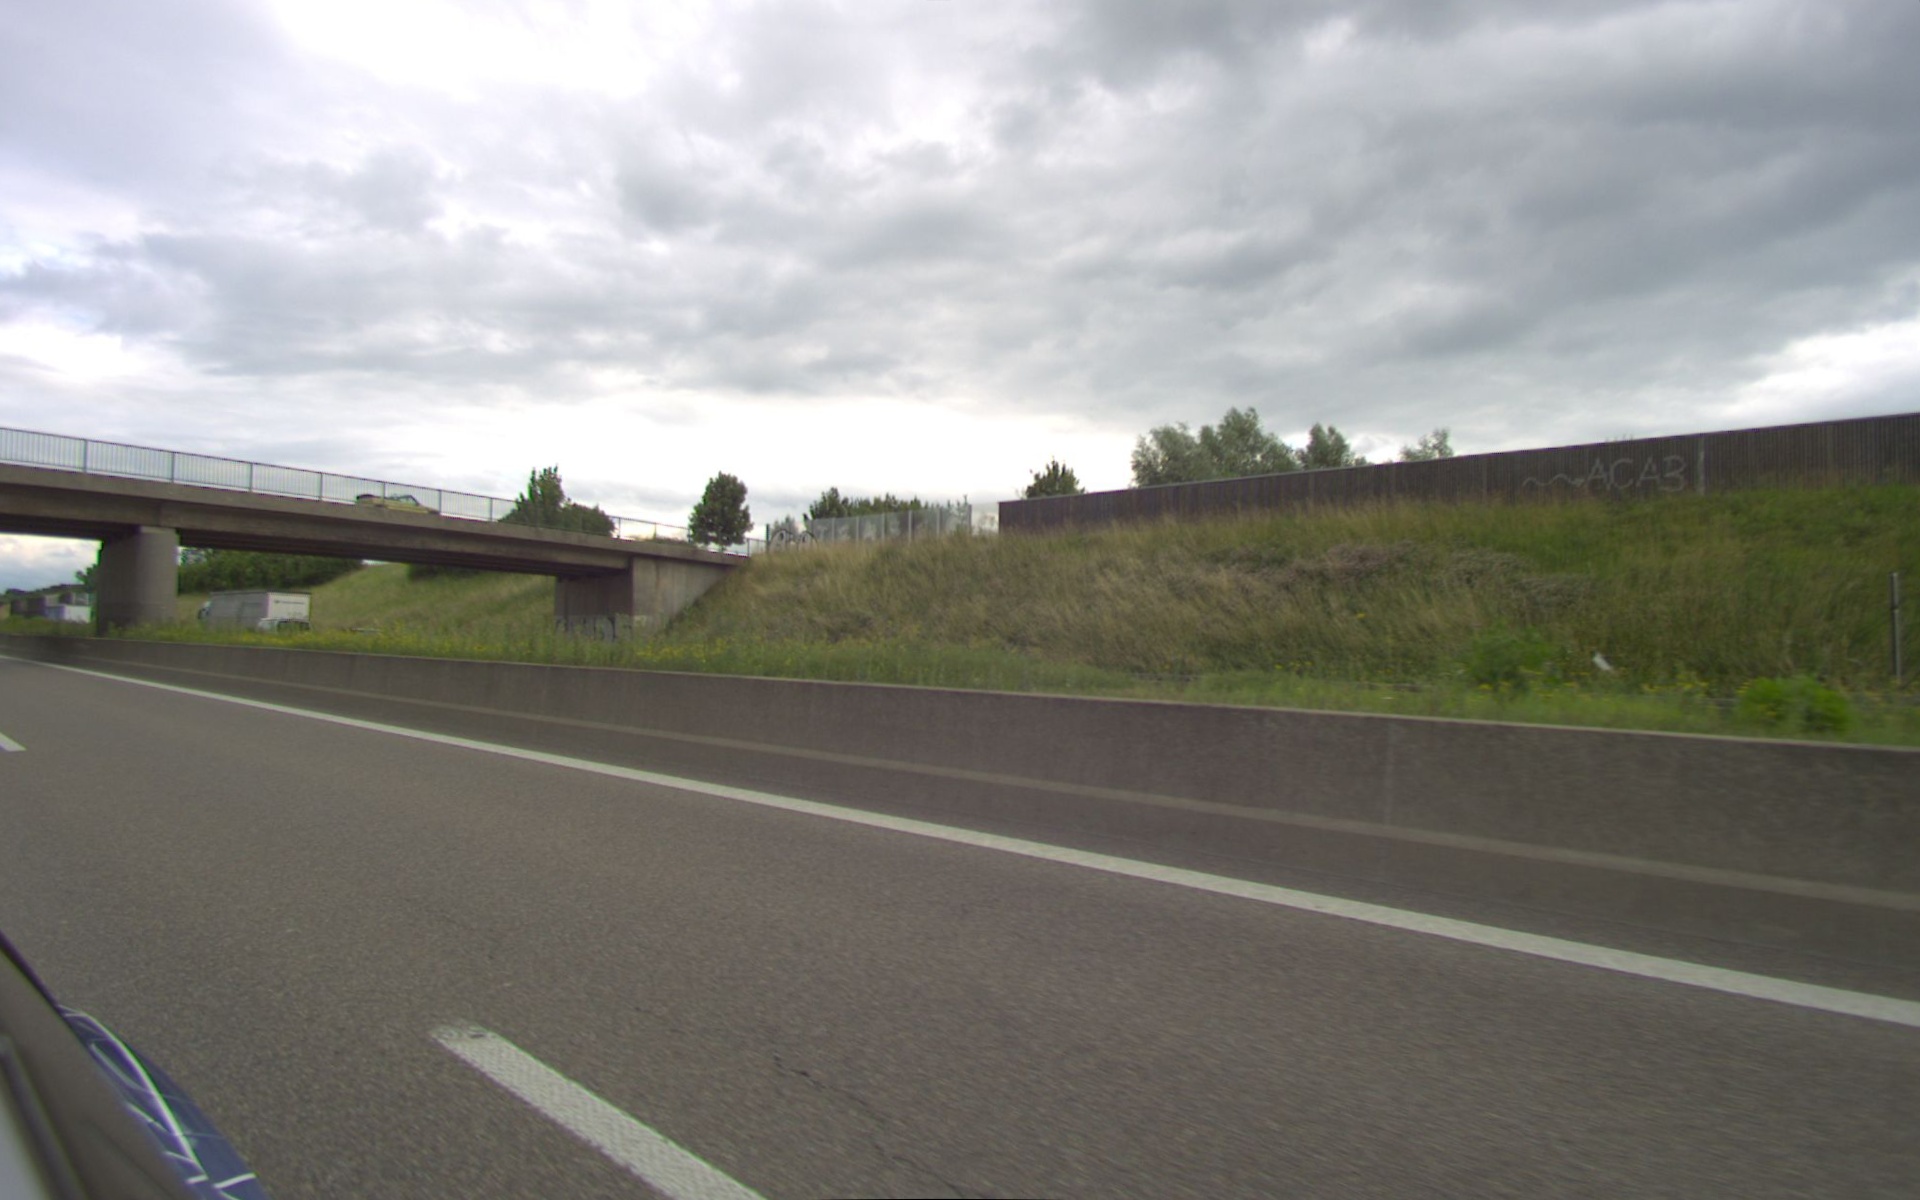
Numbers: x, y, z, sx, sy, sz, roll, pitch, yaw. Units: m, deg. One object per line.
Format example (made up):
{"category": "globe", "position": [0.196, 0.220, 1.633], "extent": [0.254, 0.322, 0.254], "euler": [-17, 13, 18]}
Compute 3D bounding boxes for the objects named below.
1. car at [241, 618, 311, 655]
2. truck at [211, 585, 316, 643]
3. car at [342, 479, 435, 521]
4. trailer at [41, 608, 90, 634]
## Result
{"category": "car", "position": [-35.784, 1.924, 52.917], "extent": [4.716, 1.843, 1.709], "euler": [-2, -3, 39]}
{"category": "truck", "position": [-48.742, 0.987, 70.605], "extent": [13.003, 3.712, 2.966], "euler": [-1, -1, 42]}
{"category": "car", "position": [-25.693, -4.477, 45.575], "extent": [1.654, 1.458, 3.306], "euler": [-1, -1, 30]}
{"category": "trailer", "position": [-110.518, 2.619, 124.994], "extent": [13.965, 2.978, 2.890], "euler": [-1, 0, 42]}
